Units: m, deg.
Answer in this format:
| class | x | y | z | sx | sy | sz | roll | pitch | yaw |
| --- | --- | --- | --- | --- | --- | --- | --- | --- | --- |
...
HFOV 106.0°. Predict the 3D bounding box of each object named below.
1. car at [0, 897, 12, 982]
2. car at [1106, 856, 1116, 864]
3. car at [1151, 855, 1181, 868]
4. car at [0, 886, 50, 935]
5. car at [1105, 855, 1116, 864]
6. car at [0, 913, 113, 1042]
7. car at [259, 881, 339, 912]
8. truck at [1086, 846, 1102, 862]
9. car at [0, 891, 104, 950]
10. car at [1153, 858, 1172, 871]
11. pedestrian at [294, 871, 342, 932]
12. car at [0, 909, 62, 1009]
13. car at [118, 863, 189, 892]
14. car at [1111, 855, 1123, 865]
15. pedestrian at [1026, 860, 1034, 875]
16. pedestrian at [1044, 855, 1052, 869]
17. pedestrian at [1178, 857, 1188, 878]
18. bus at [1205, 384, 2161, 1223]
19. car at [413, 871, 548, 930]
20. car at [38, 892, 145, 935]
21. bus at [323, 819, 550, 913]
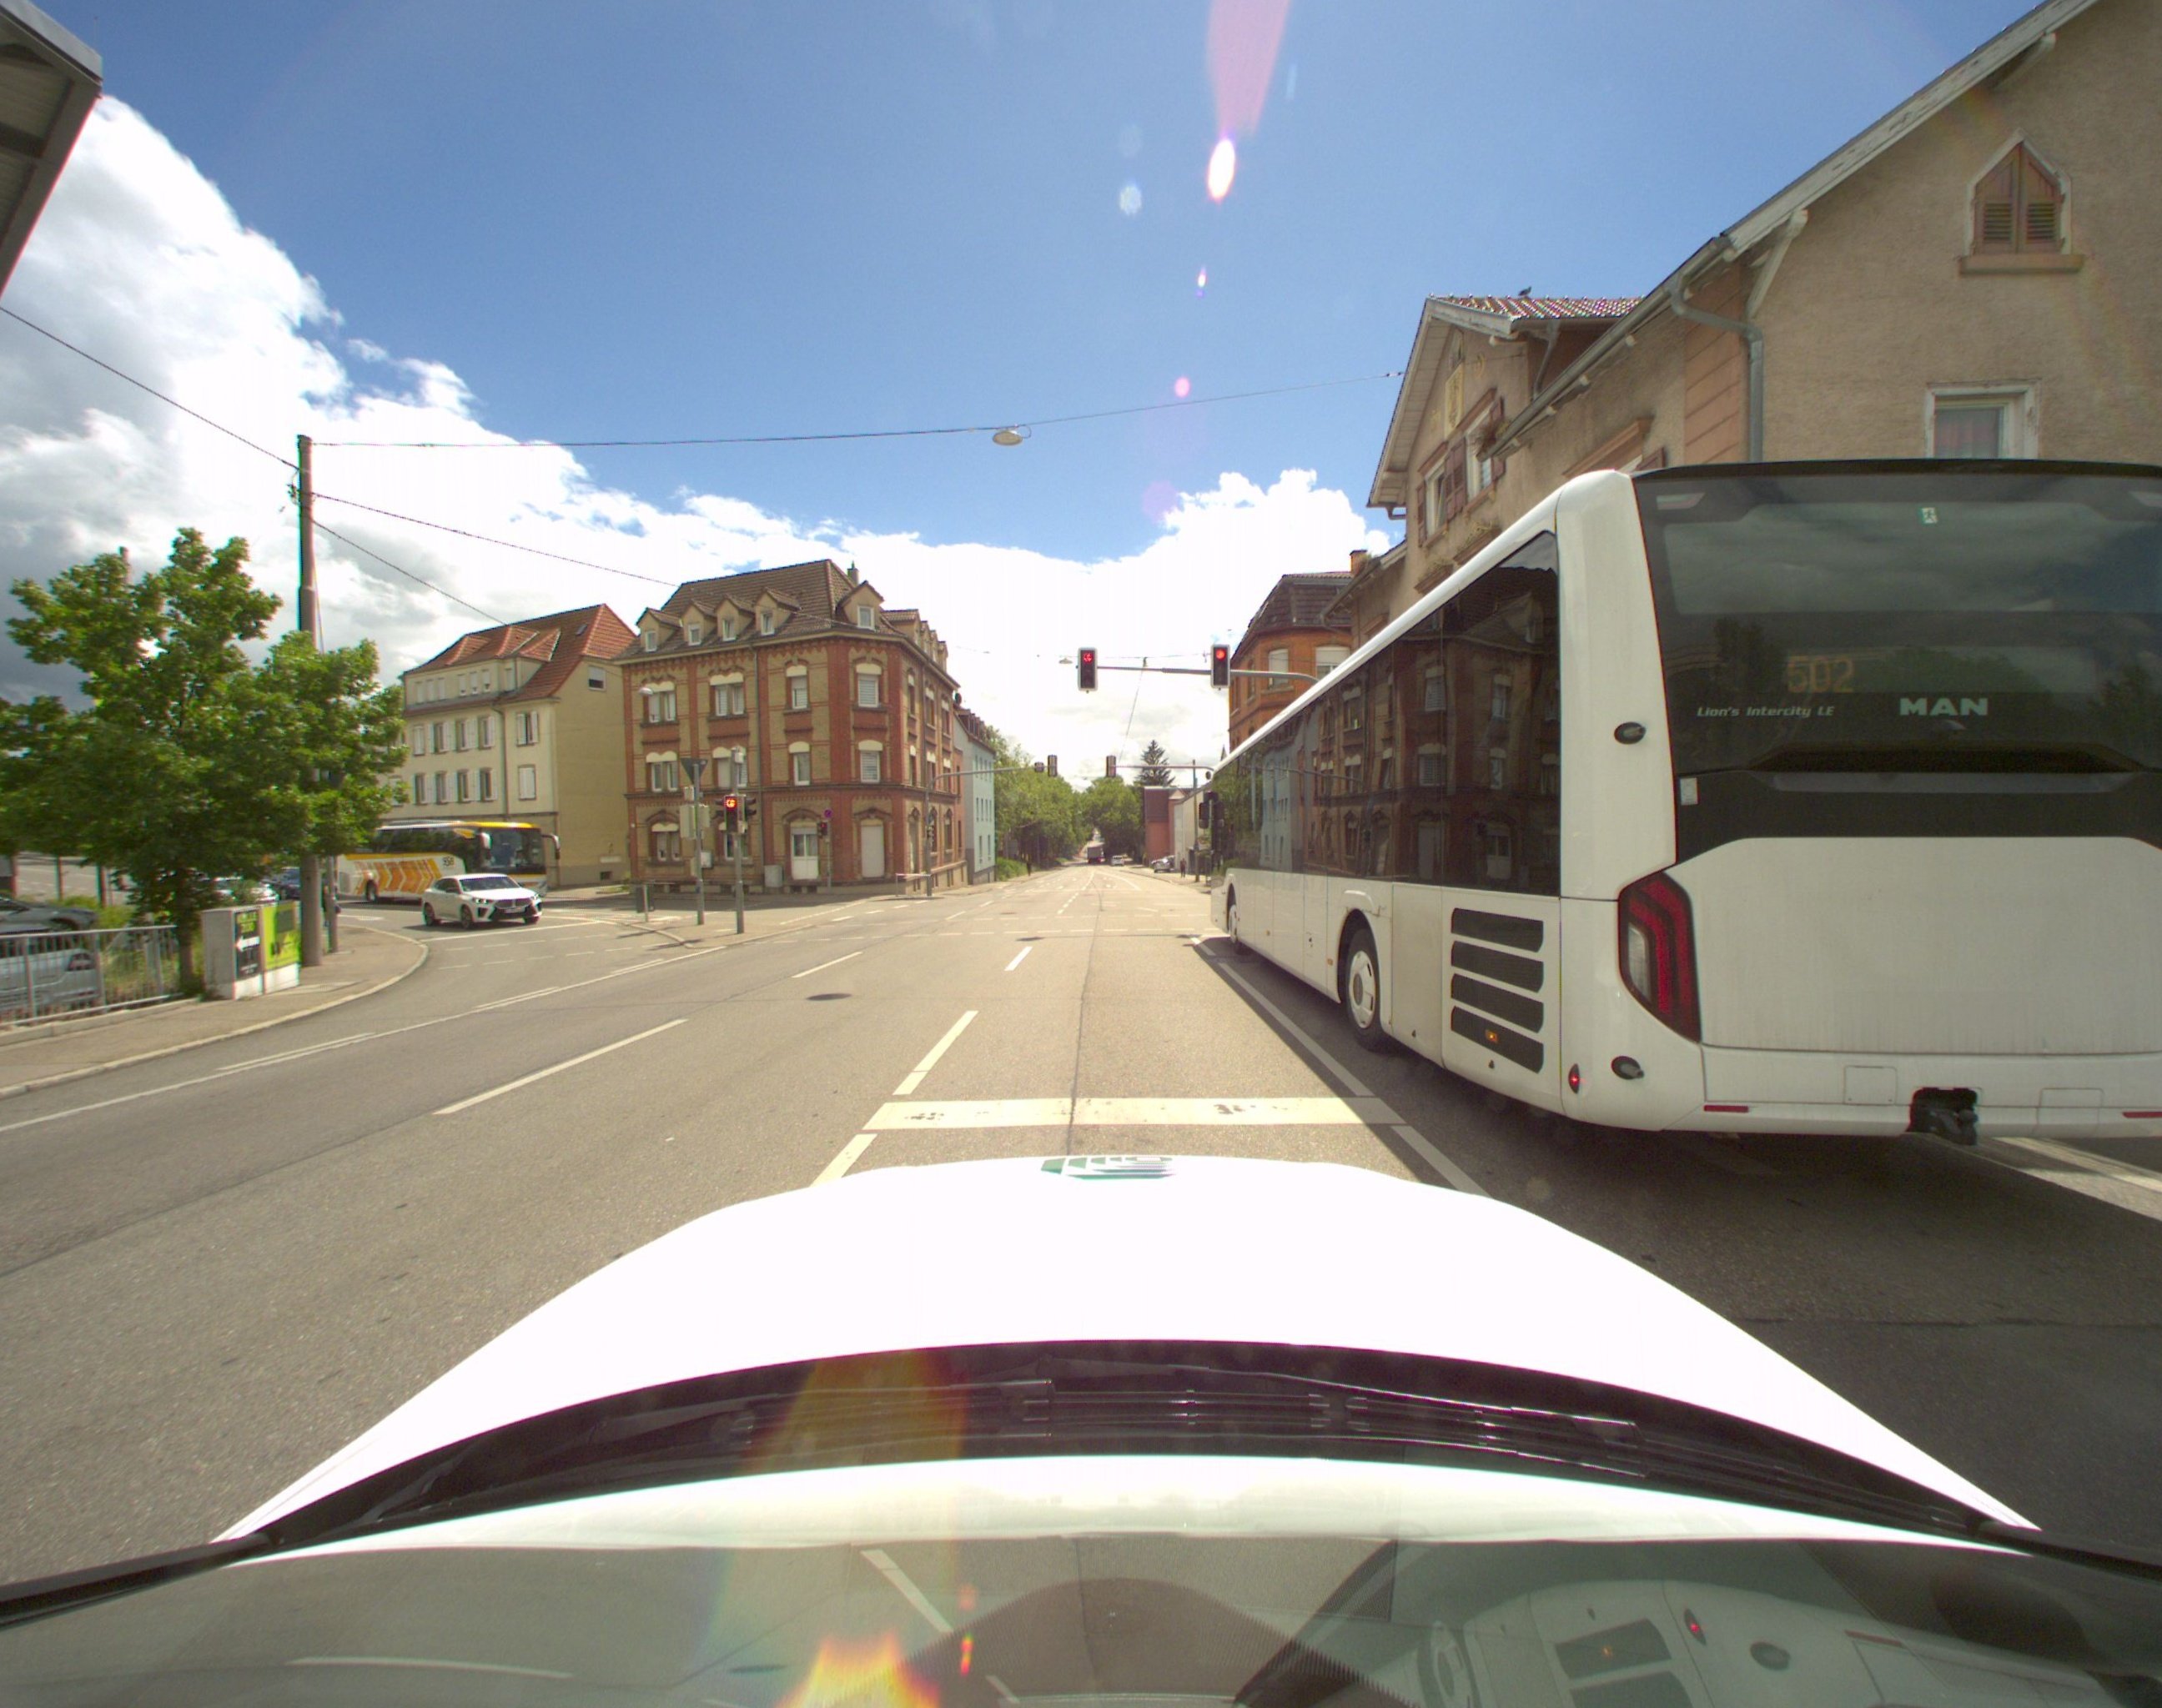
| class | x | y | z | sx | sy | sz | roll | pitch | yaw |
| --- | --- | --- | --- | --- | --- | --- | --- | --- | --- |
| car | -23.414 | 1.757 | 16.473 | 3.455 | 1.680 | 1.663 | -1 | 2 | 30 |
| car | 5.759 | 1.122 | 154.014 | 1.787 | 1.409 | 4.421 | -1 | 0 | 3 |
| car | 11.783 | 1.042 | 113.072 | 3.978 | 1.757 | 1.998 | -2 | 0 | -3 |
| car | -36.208 | 1.882 | 25.838 | 1.785 | 1.554 | 4.023 | -2 | 0 | 25 |
| car | 5.312 | 0.987 | 146.127 | 1.787 | 1.409 | 4.421 | -1 | 0 | 3 |
| car | -16.044 | 1.787 | 12.069 | 3.321 | 1.560 | 1.692 | 0 | 2 | 32 |
| car | -39.201 | 2.115 | 40.807 | 3.949 | 1.409 | 1.762 | -2 | 0 | 28 |
| truck | 2.625 | 0.024 | 162.164 | 2.917 | 3.081 | 7.883 | -2 | 0 | 0 |
| car | -29.515 | 1.854 | 22.159 | 1.777 | 1.477 | 3.522 | -2 | 0 | 32 |
| car | 9.233 | 1.173 | 93.017 | 1.788 | 1.409 | 4.000 | -2 | 0 | 1 |
| pedestrian | -22.477 | 1.383 | 23.984 | 1.129 | 1.734 | 0.764 | -2 | -1 | 34 |
| car | -19.540 | 1.836 | 14.196 | 3.455 | 1.526 | 1.626 | -1 | 2 | 29 |
| car | -53.669 | 1.370 | 47.120 | 3.949 | 1.554 | 1.923 | -2 | 0 | 29 |
| car | 5.725 | 0.948 | 129.544 | 1.787 | 1.409 | 4.002 | -1 | 0 | 2 |
| pedestrian | -5.454 | 1.426 | 87.125 | 0.727 | 1.565 | 0.561 | -1 | -1 | 0 |
| pedestrian | -4.637 | 1.172 | 115.736 | 0.991 | 2.013 | 1.189 | -2 | 0 | 1 |
| pedestrian | 8.847 | 1.150 | 70.539 | 0.736 | 1.750 | 0.619 | -2 | 0 | 1 |
| bus | 3.526 | -0.181 | 9.345 | 2.662 | 3.155 | 12.467 | -2 | 0 | 2 |
| car | -18.460 | 1.443 | 24.975 | 4.250 | 1.552 | 1.846 | -4 | 0 | 32 |
| car | -37.376 | 2.202 | 30.755 | 3.456 | 1.448 | 1.811 | -2 | 0 | 26 |
| bus | -28.245 | 0.420 | 35.441 | 12.111 | 3.621 | 2.788 | 0 | 0 | 26 |
